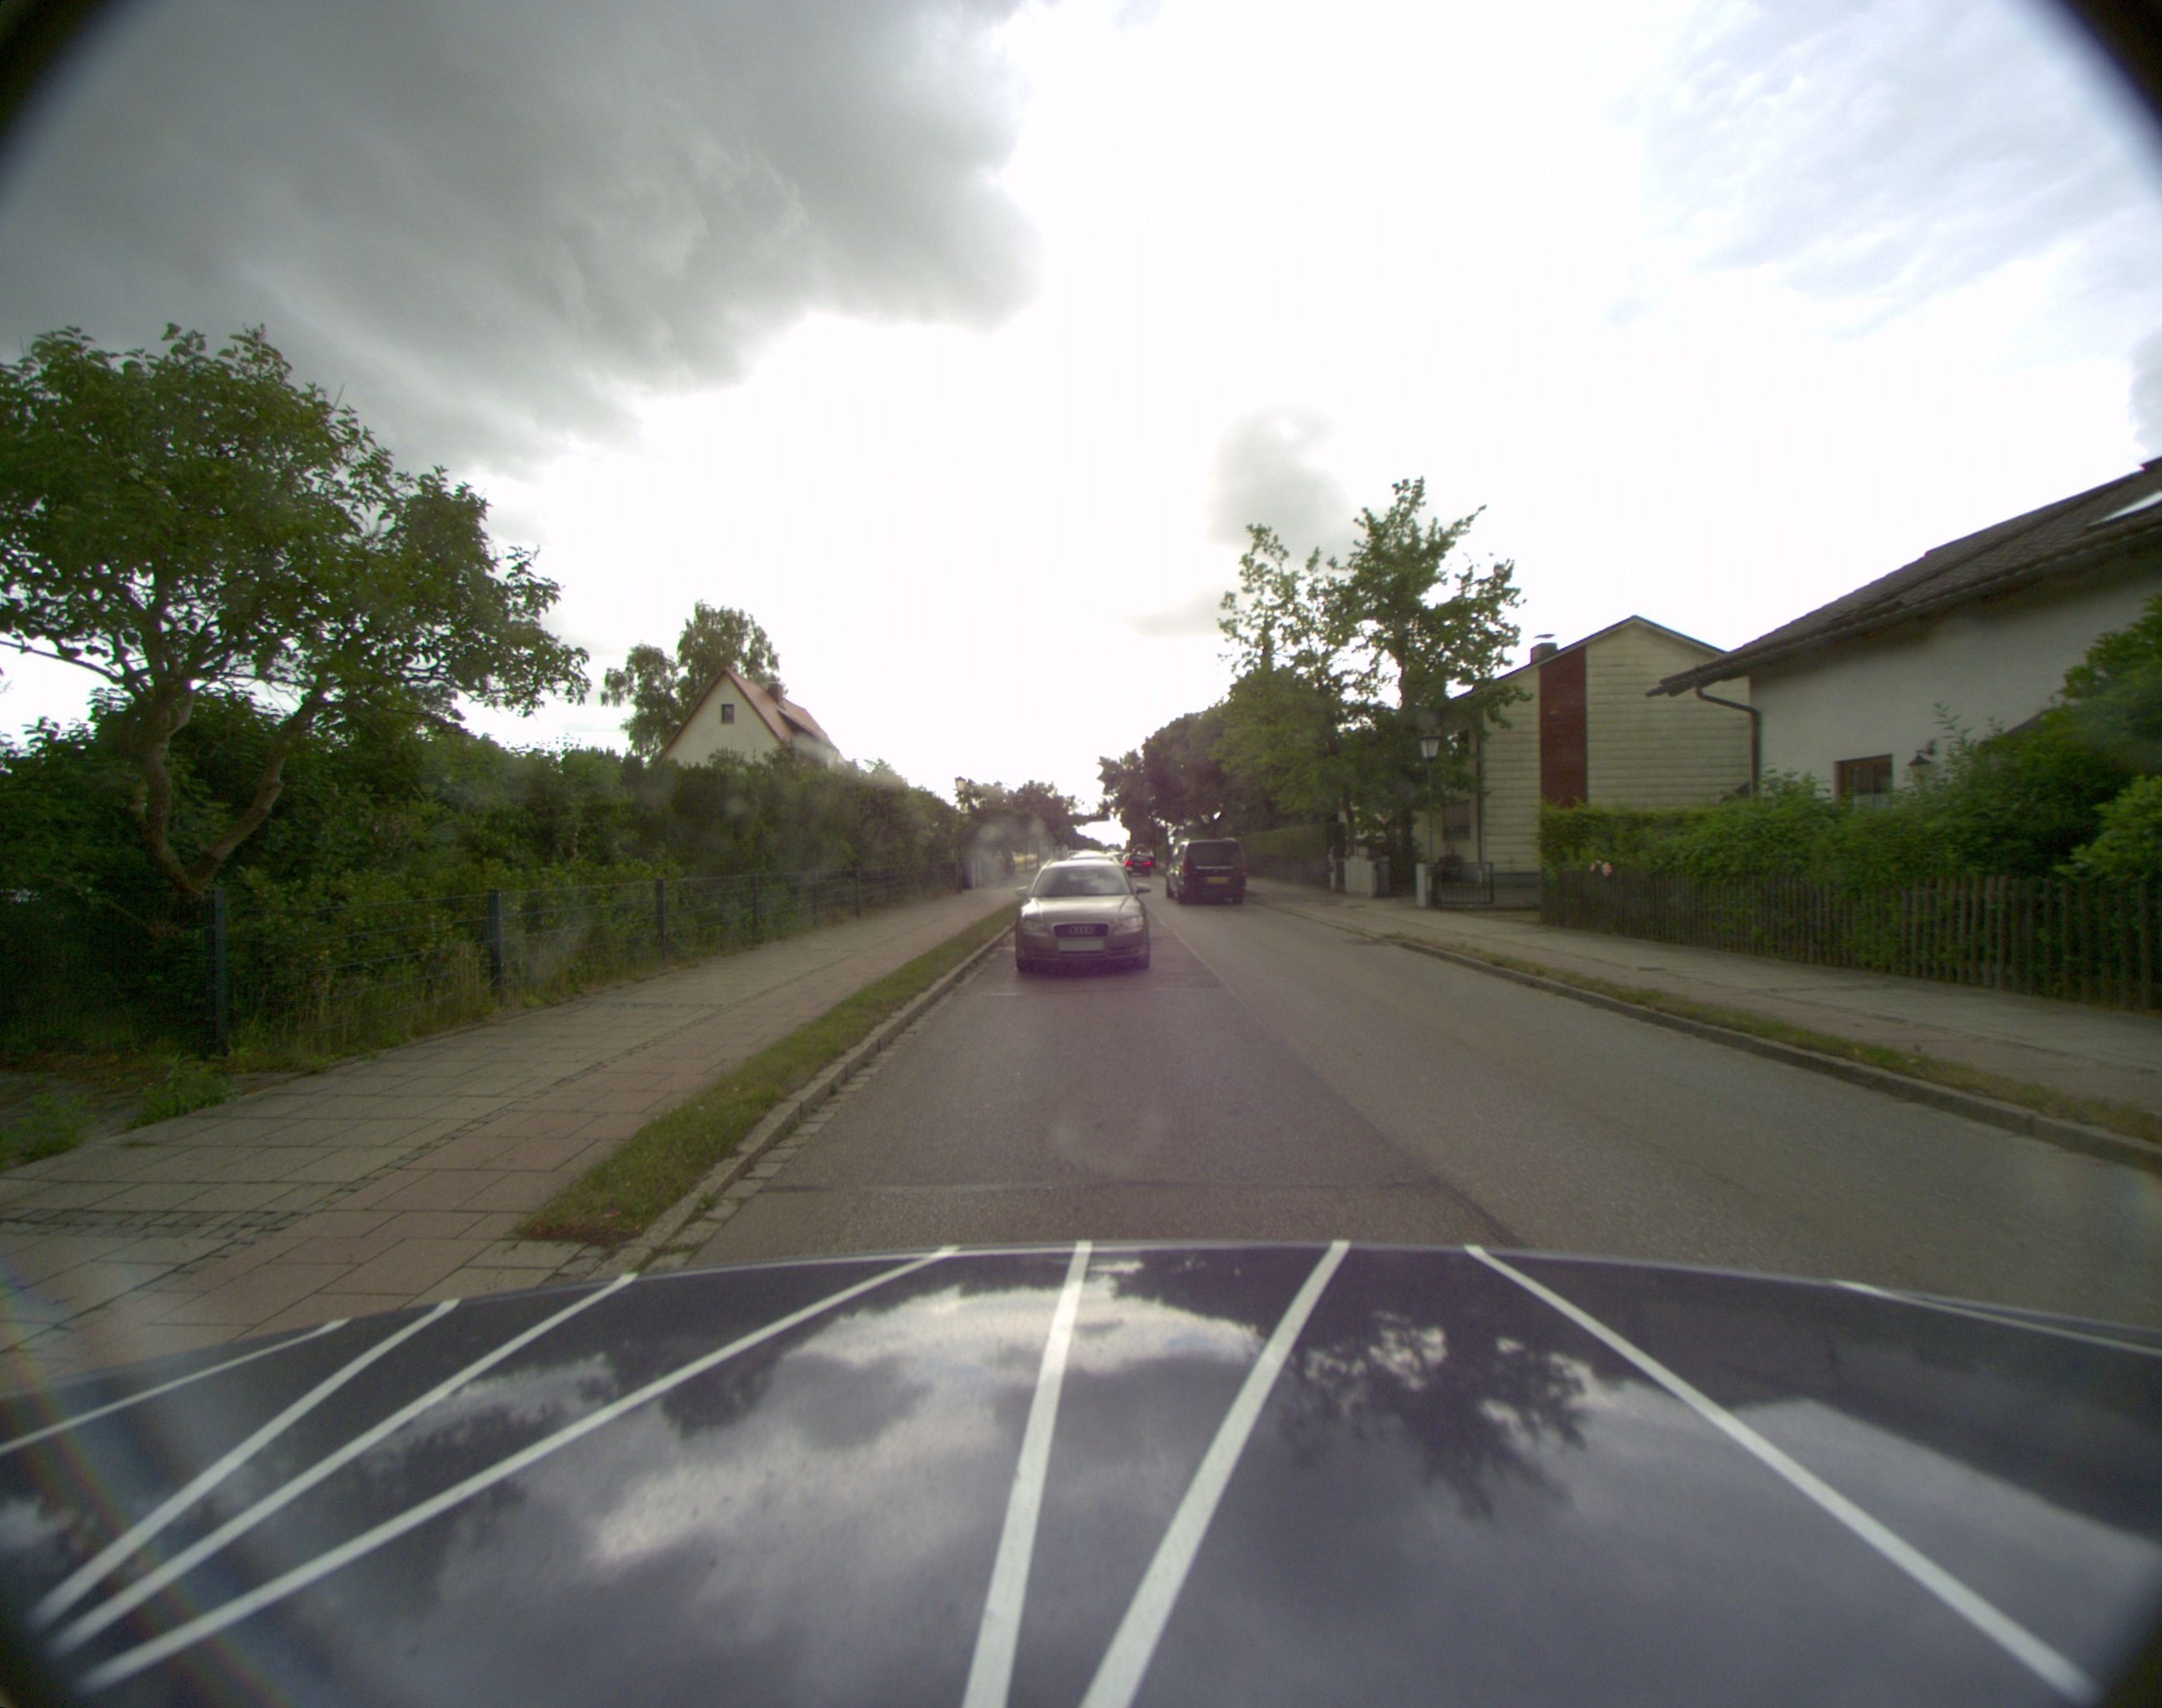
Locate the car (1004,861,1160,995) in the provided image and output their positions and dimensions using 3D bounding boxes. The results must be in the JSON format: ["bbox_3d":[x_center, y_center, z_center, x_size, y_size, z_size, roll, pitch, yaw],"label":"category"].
[{"bbox_3d":[0.031,0.892,11.113,1.809,1.476,4.270,-2,0,0],"label":"car"}]

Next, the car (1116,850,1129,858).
[{"bbox_3d":[7.134,-0.065,130.561,2.029,1.362,4.000,-1,0,2],"label":"car"}]

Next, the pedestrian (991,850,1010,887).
[{"bbox_3d":[-3.524,0.615,33.358,0.793,1.592,0.671,0,1,-5],"label":"pedestrian"}]

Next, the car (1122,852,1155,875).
[{"bbox_3d":[3.787,0.619,50.988,1.851,1.445,4.548,-1,0,0],"label":"car"}]

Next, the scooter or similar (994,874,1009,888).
[{"bbox_3d":[-3.405,1.169,32.670,0.618,0.553,0.742,-1,0,-6],"label":"scooter or similar"}]

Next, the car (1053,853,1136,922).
[{"bbox_3d":[0.335,0.777,20.008,1.866,1.518,4.942,-2,0,0],"label":"car"}]

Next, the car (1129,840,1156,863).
[{"bbox_3d":[6.504,-0.260,80.752,2.246,2.258,4.469,-2,0,-2],"label":"car"}]

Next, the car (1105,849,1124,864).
[{"bbox_3d":[3.494,0.223,79.722,1.756,1.475,4.375,-2,0,-1],"label":"car"}]

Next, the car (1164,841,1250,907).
[{"bbox_3d":[3.801,0.545,23.721,1.969,1.842,4.947,-1,0,2],"label":"car"}]

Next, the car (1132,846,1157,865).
[{"bbox_3d":[6.219,0.109,74.600,1.999,1.740,3.999,-1,0,-2],"label":"car"}]

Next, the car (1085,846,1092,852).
[{"bbox_3d":[2.327,-1.483,229.023,1.998,2.002,4.000,-1,0,1],"label":"car"}]

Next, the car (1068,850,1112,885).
[{"bbox_3d":[0.420,0.580,35.591,1.866,1.518,4.122,-2,0,0],"label":"car"}]
